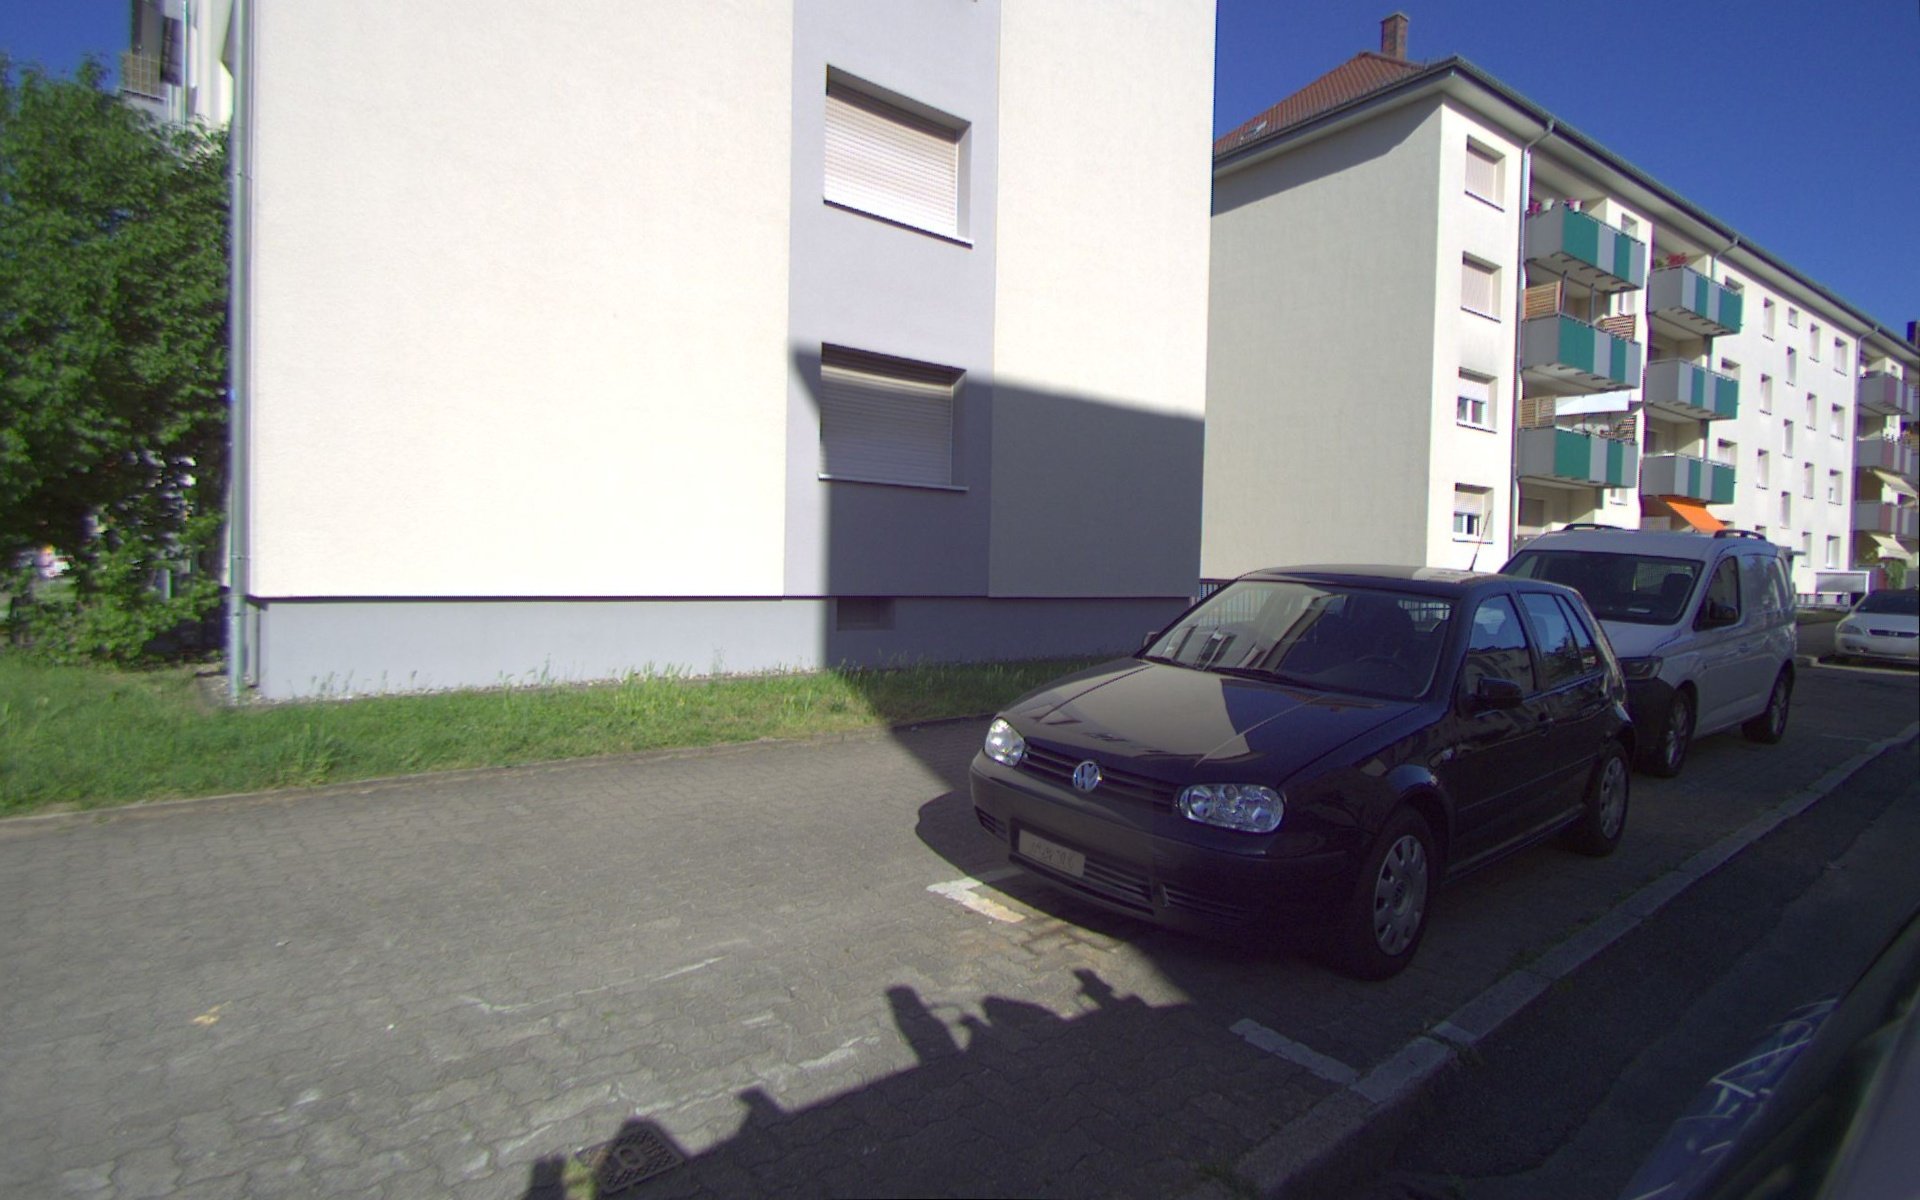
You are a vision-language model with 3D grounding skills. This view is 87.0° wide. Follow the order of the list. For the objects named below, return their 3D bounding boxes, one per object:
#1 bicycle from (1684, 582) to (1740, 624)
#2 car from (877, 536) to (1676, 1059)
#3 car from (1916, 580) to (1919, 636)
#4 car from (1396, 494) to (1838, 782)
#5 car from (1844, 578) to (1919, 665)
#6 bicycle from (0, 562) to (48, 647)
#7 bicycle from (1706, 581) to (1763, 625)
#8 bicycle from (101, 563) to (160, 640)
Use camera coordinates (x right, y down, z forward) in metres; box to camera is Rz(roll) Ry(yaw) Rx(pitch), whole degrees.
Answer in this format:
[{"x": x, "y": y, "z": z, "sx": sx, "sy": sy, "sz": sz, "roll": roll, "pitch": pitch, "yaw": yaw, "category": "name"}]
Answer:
[{"x": 19.929, "y": 0.074, "z": 26.822, "sx": 2.034, "sy": 1.057, "sz": 0.507, "roll": -1, "pitch": 1, "yaw": -33, "category": "bicycle"}, {"x": 1.752, "y": 0.489, "z": 4.854, "sx": 3.979, "sy": 1.431, "sz": 1.802, "roll": -1, "pitch": 5, "yaw": -41, "category": "car"}, {"x": 25.876, "y": -0.041, "z": 25.707, "sx": 4.834, "sy": 1.861, "sz": 1.763, "roll": -1, "pitch": 4, "yaw": -41, "category": "car"}, {"x": 5.770, "y": 0.147, "z": 8.667, "sx": 4.458, "sy": 1.867, "sz": 1.803, "roll": -1, "pitch": 5, "yaw": -39, "category": "car"}, {"x": 17.929, "y": 0.349, "z": 18.791, "sx": 4.241, "sy": 1.423, "sz": 1.745, "roll": -1, "pitch": 4, "yaw": -42, "category": "car"}, {"x": -12.487, "y": 0.017, "z": 13.456, "sx": 0.478, "sy": 1.024, "sz": 2.279, "roll": -2, "pitch": 3, "yaw": -43, "category": "bicycle"}, {"x": 20.172, "y": 0.067, "z": 26.342, "sx": 2.034, "sy": 1.106, "sz": 0.507, "roll": -1, "pitch": 1, "yaw": -33, "category": "bicycle"}, {"x": -11.593, "y": -0.015, "z": 14.115, "sx": 0.478, "sy": 0.972, "sz": 2.279, "roll": -2, "pitch": 3, "yaw": -43, "category": "bicycle"}]
